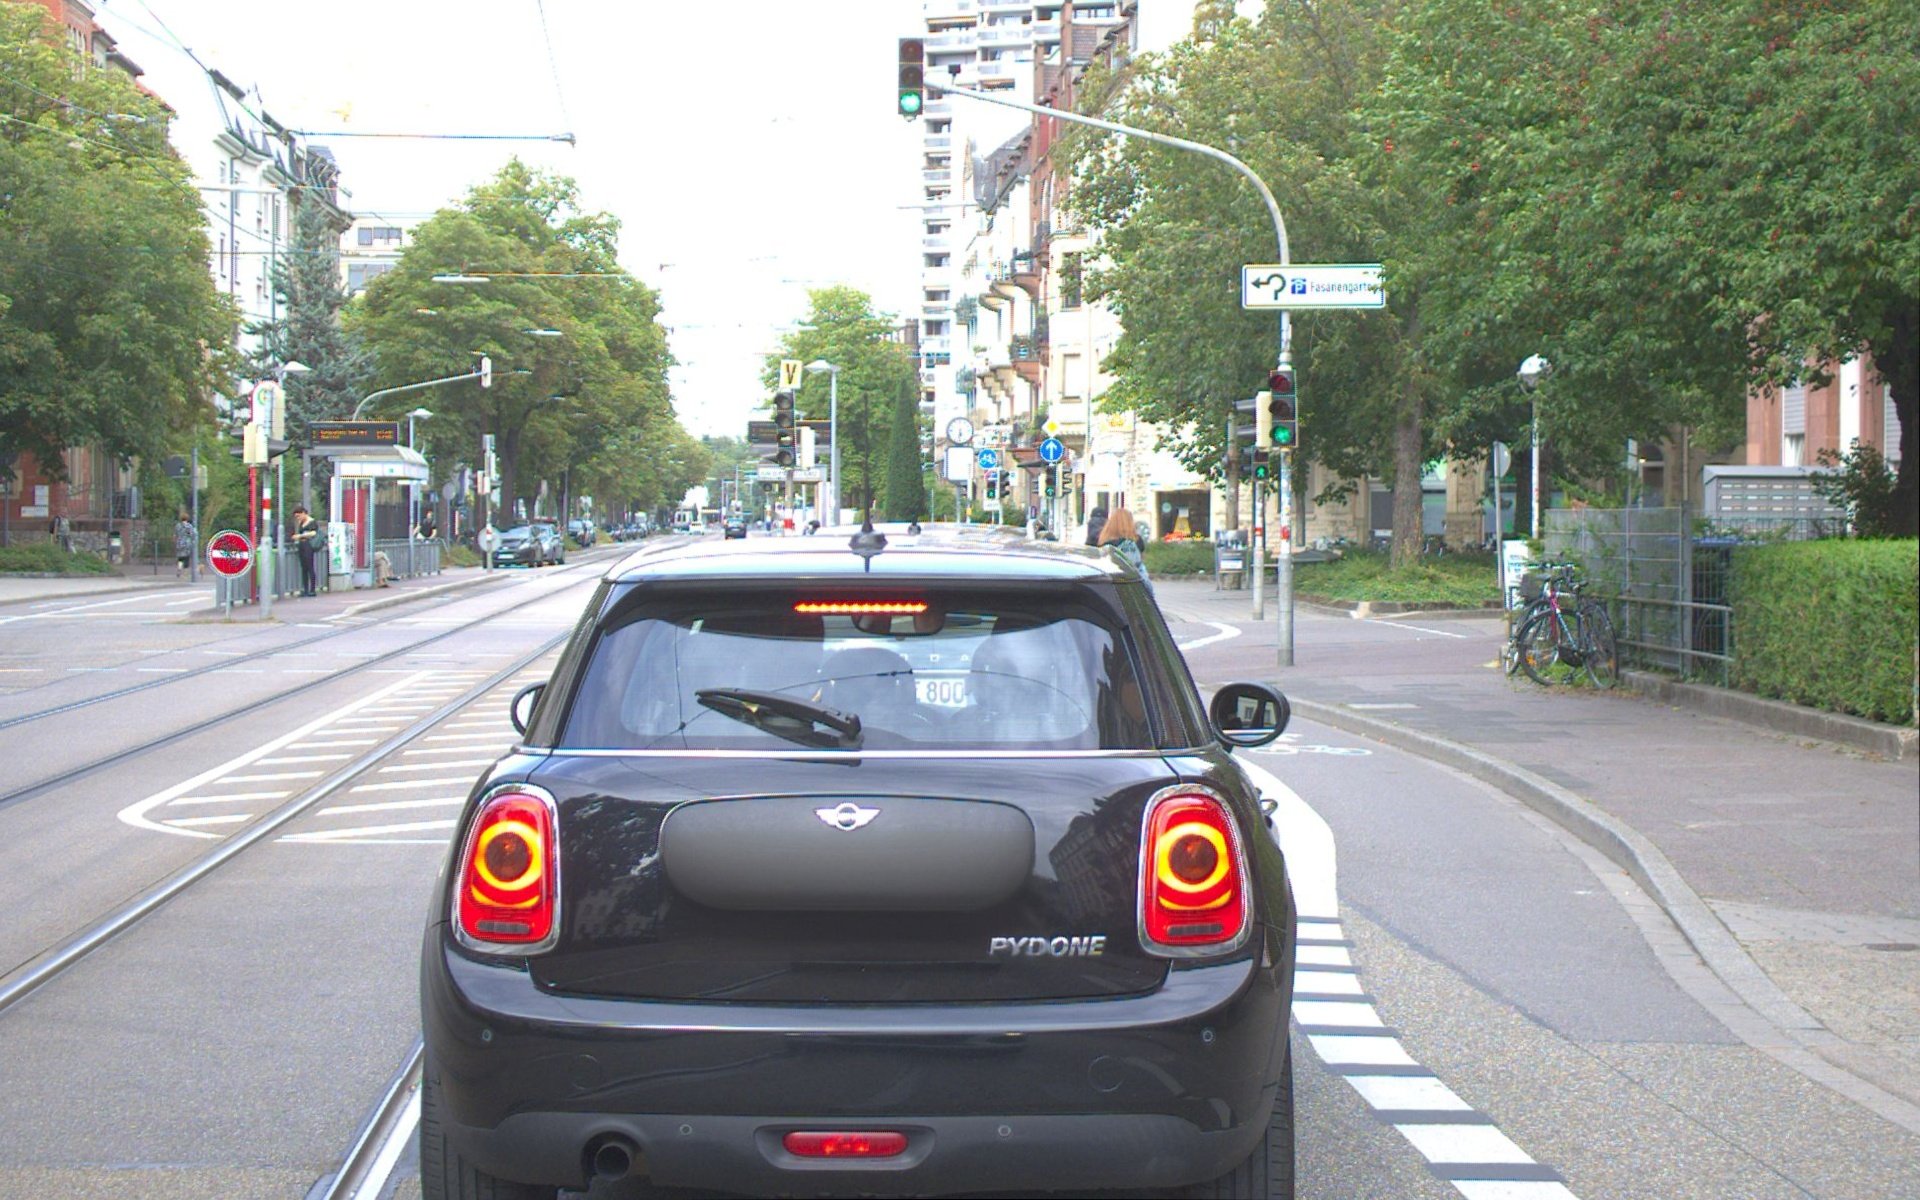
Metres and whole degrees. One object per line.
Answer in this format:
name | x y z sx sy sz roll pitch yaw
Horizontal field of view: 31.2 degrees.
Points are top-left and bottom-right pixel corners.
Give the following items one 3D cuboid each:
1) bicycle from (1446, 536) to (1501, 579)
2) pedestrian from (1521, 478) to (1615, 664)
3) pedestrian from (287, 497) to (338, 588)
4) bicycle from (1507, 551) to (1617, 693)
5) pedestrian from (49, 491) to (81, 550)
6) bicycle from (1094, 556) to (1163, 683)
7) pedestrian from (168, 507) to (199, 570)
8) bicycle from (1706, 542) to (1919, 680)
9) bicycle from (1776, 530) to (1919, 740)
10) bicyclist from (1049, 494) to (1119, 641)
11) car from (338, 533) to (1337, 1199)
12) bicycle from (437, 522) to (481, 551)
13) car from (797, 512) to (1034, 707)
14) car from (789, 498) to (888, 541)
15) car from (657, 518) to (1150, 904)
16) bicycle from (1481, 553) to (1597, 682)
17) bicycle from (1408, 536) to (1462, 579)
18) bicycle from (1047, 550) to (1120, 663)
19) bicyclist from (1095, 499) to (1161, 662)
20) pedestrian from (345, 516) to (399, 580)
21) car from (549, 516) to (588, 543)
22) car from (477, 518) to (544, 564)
bicycle | 13.667 -1.127 91.466 0.532 1.124 1.889 1 2 39
pedestrian | 5.811 -0.285 32.888 0.730 1.748 0.950 0 1 1
pedestrian | -11.679 -1.043 62.035 0.851 1.615 0.843 0 1 -8
bicycle | 4.922 0.167 28.185 0.508 1.085 1.550 -3 2 -3
pedestrian | -25.750 -2.284 98.923 0.832 1.697 0.733 0 1 -8
bicycle | 1.610 0.173 33.106 0.598 1.166 1.697 0 2 1
pedestrian | -20.971 -1.665 92.863 0.694 1.713 0.758 0 1 -1
bicycle | 6.387 0.080 25.569 1.545 1.005 0.510 0 1 -5
bicycle | 5.657 0.199 21.884 0.516 1.277 1.550 0 2 -1
bicyclist | 1.331 -0.361 37.046 0.684 1.558 0.998 0 1 -1
car | -0.209 0.578 8.053 1.752 1.436 4.000 0 1 0
bicycle | -19.334 -2.461 132.699 1.667 1.115 0.573 -1 2 -42
car | -0.370 0.019 27.796 1.751 1.436 4.480 0 1 -1
car | -6.535 -4.322 185.131 5.026 2.265 2.396 -1 2 -43
car | -0.225 0.391 15.501 1.927 1.504 4.000 0 1 0
bicycle | 5.193 0.145 30.924 0.671 1.102 1.672 0 2 -3
bicycle | 12.738 -1.150 92.154 0.532 1.124 1.889 1 2 39
bicycle | 1.325 0.056 37.112 0.684 1.166 1.697 0 2 -1
bicyclist | 1.613 -0.201 33.088 0.594 1.545 1.014 0 1 1
pedestrian | -11.967 -1.070 70.008 1.058 1.289 0.986 0 1 -8
car | -22.978 -4.170 201.770 1.993 1.546 4.001 0 1 -3
car | -14.861 -1.960 113.825 1.751 1.436 4.001 2 1 -2
